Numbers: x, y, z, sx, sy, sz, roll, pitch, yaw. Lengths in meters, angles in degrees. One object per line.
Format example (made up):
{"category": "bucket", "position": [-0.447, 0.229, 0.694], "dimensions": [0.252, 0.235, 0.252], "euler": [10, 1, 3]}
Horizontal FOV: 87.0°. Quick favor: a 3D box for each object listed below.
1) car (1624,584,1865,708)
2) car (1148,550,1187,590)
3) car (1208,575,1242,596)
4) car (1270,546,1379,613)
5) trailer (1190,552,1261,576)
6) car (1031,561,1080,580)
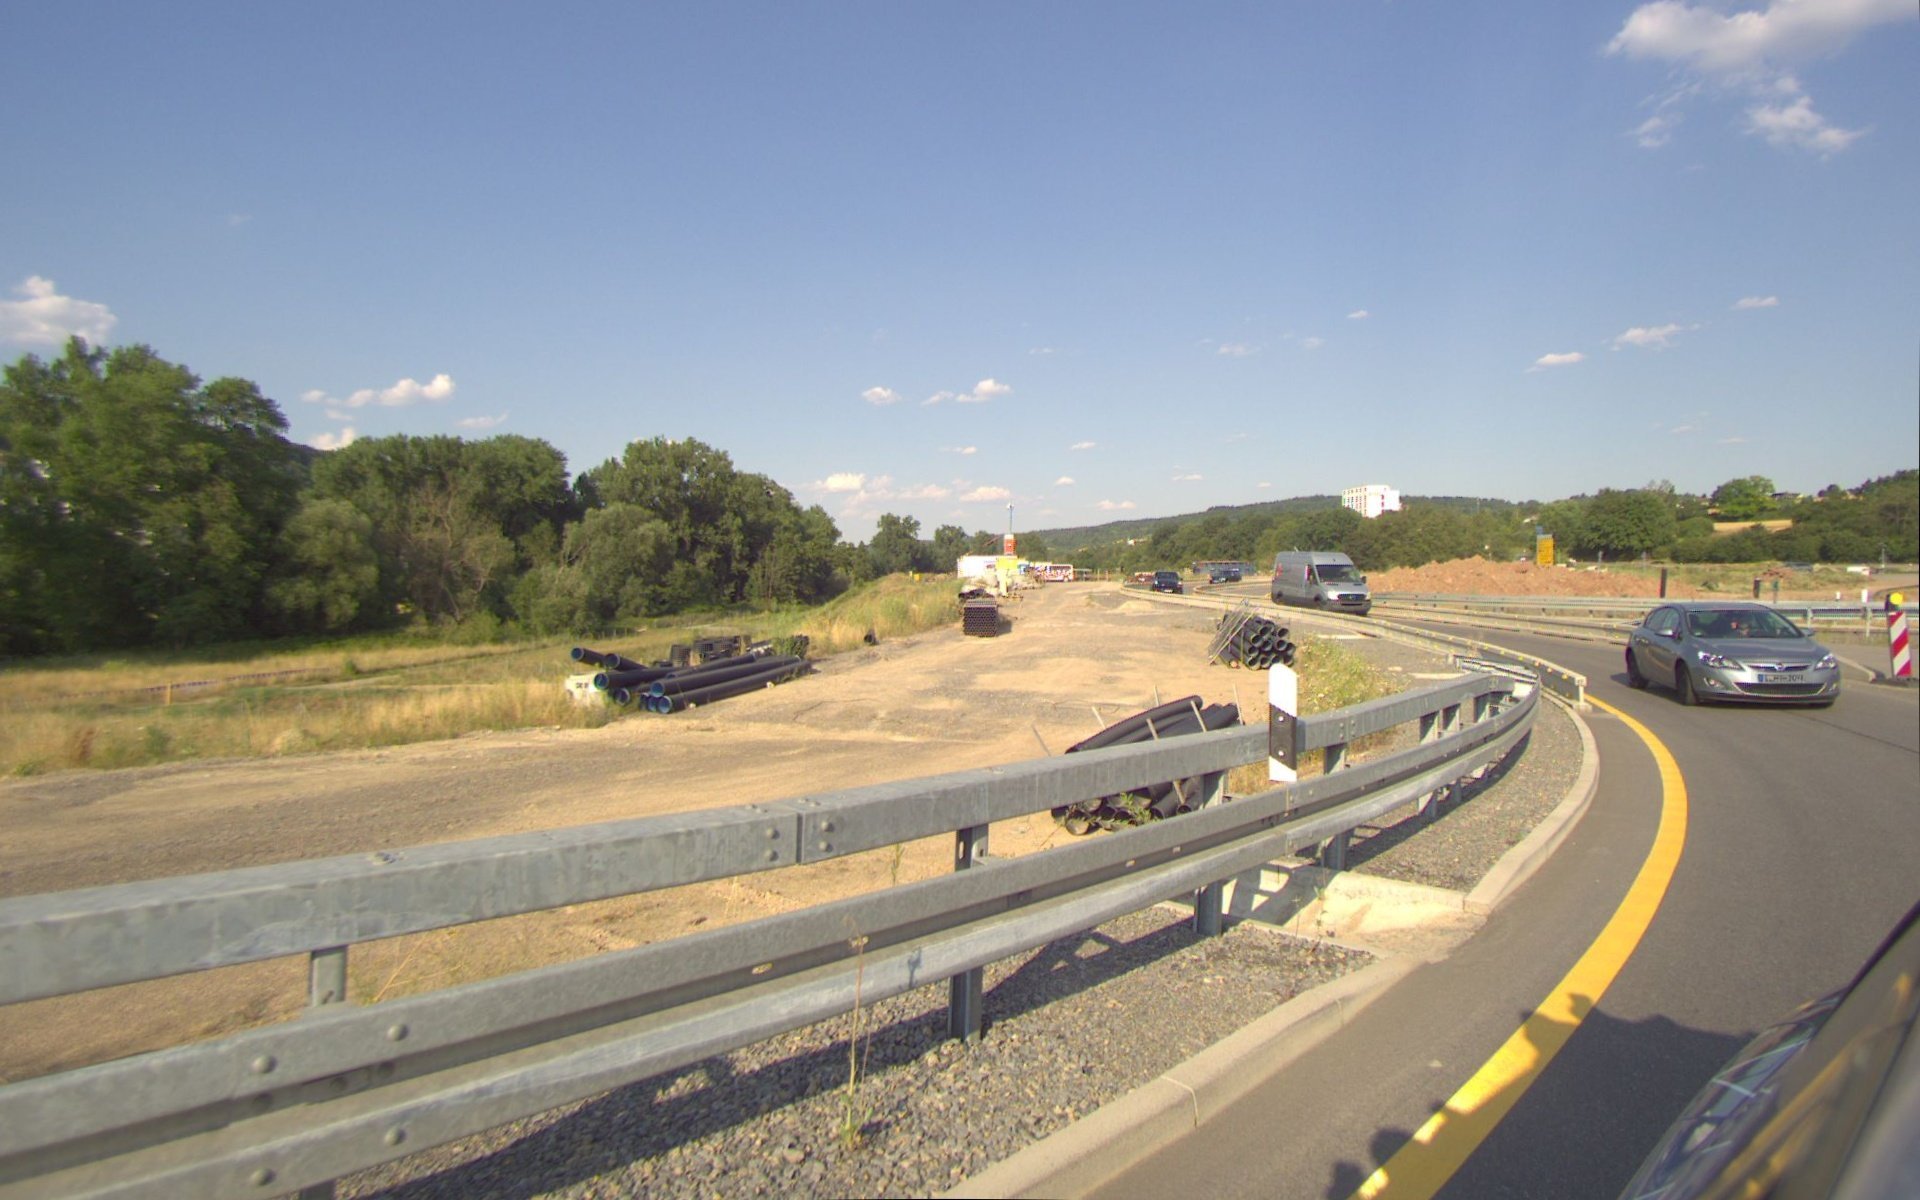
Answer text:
{"category": "car", "position": [11.707, 0.596, 15.451], "dimensions": [1.727, 1.503, 4.223], "euler": [-2, 2, 21]}
{"category": "car", "position": [13.280, -1.961, 64.960], "dimensions": [1.842, 2.432, 3.999], "euler": [0, 3, 3]}
{"category": "car", "position": [24.372, -1.347, 93.027], "dimensions": [1.628, 1.808, 4.073], "euler": [1, 3, 37]}
{"category": "car", "position": [14.738, -0.904, 41.329], "dimensions": [1.879, 2.531, 5.807], "euler": [-1, 3, -6]}
{"category": "trailer", "position": [28.225, -3.853, 107.619], "dimensions": [7.081, 2.444, 3.019], "euler": [-2, 2, -26]}
{"category": "car", "position": [10.937, -3.388, 116.167], "dimensions": [5.213, 2.104, 2.491], "euler": [-1, 3, -5]}
